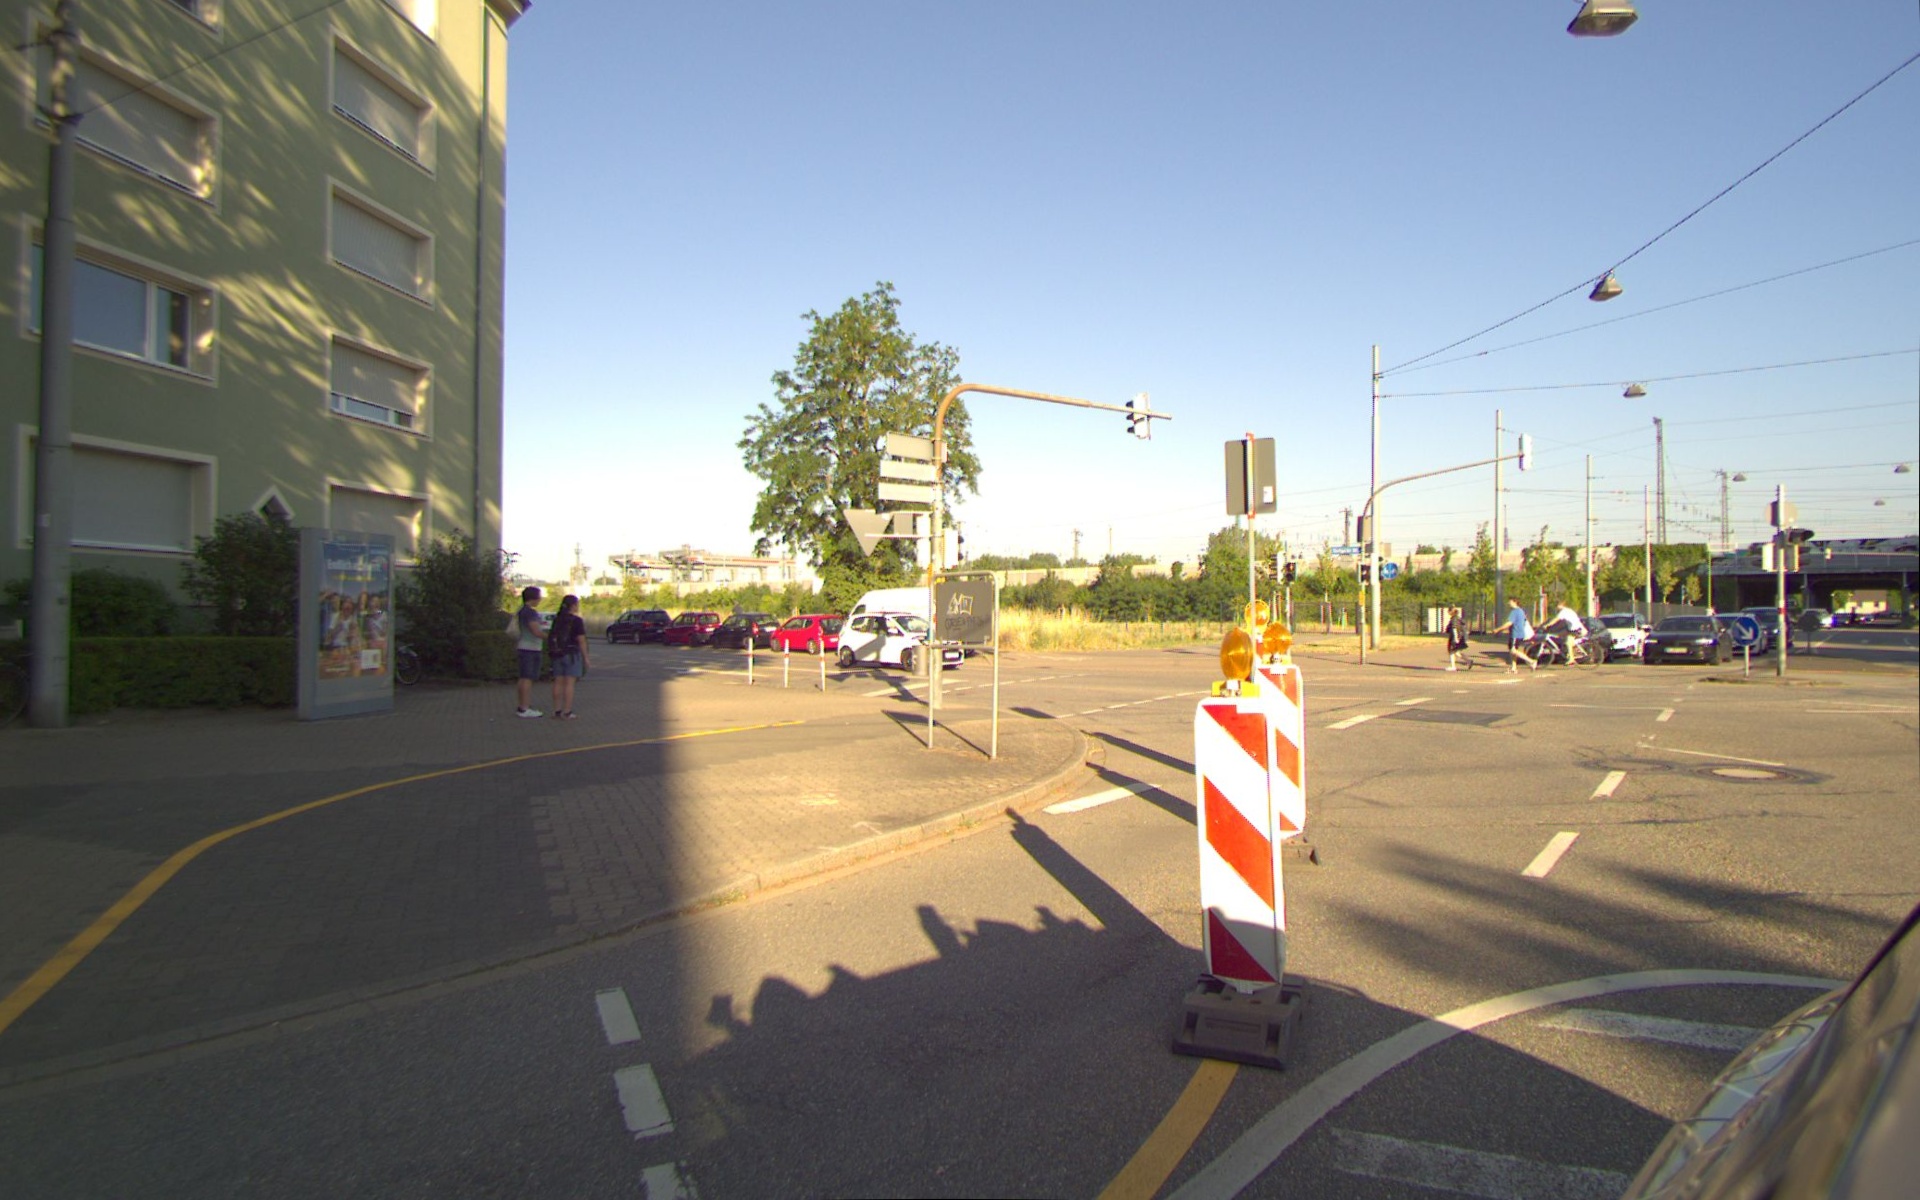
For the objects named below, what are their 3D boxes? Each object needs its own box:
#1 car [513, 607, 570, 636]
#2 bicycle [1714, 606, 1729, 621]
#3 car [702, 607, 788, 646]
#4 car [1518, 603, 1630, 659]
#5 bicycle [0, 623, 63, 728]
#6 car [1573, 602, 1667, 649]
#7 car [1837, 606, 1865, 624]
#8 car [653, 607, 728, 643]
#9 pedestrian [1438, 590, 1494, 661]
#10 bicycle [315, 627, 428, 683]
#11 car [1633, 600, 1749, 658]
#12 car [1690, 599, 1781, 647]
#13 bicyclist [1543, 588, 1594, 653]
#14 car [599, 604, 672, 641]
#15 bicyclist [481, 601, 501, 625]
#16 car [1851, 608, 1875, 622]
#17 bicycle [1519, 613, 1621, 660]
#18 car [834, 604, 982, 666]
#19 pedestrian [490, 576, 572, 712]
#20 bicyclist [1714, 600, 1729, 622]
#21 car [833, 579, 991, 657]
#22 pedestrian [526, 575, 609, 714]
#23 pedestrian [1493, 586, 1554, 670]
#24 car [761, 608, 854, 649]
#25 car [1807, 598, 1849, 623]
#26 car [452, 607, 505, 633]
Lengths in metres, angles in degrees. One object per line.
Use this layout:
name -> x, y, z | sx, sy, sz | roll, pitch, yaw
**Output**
car -> -23.368, 1.180, 56.445 | 3.571, 1.545, 1.681 | -1, -1, 44
bicycle -> 54.888, 0.973, 72.951 | 0.661, 1.082, 1.988 | -1, -1, 43
car -> -9.166, 1.084, 42.949 | 3.802, 1.549, 1.720 | -1, -1, 43
car -> 19.003, 0.910, 31.258 | 1.994, 1.587, 4.206 | -2, -1, 45
bicycle -> -10.274, 0.782, 10.157 | 0.514, 1.070, 1.923 | -1, 0, 18
car -> 23.503, 0.863, 35.991 | 1.994, 1.587, 4.206 | -1, -1, 45
car -> 86.965, 1.426, 98.734 | 1.992, 1.725, 3.939 | -1, -1, 42
car -> -12.259, 1.102, 45.942 | 3.565, 1.549, 1.639 | -1, -1, 43
pedestrian -> 12.931, 0.627, 25.874 | 1.064, 1.769, 0.900 | -1, -1, 44
bicycle -> -11.042, 1.018, 19.012 | 1.816, 1.015, 0.645 | 0, -1, 7
car -> 21.703, 0.793, 29.986 | 4.377, 1.587, 2.049 | 0, -1, -44
car -> 27.397, 0.760, 35.711 | 1.994, 1.587, 4.384 | -1, -1, 45
bicyclist -> 15.754, 0.525, 26.211 | 1.037, 1.650, 0.703 | -1, -1, 40
car -> -15.716, 1.059, 48.984 | 3.990, 1.680, 1.639 | -1, -1, 43
bicyclist -> -32.244, 0.879, 69.578 | 1.141, 1.617, 0.854 | -1, -1, 40
car -> 112.948, 1.829, 126.549 | 3.934, 1.725, 1.994 | 0, -1, -44
bicycle -> 15.760, 0.925, 26.198 | 2.189, 1.157, 0.691 | -1, -1, 39
car -> -1.394, 0.848, 26.149 | 3.760, 1.487, 1.680 | -1, -1, 42
pedestrian -> -5.826, 0.580, 13.755 | 0.688, 1.773, 0.786 | -1, -1, 32
bicyclist -> 54.883, 0.796, 72.963 | 0.774, 1.626, 0.844 | 0, -1, 42
car -> -1.763, 0.577, 35.422 | 5.538, 2.466, 2.204 | 0, 2, 42
pedestrian -> -5.190, 0.565, 13.409 | 0.686, 1.773, 0.788 | -1, -1, 25
pedestrian -> 13.426, 0.648, 24.106 | 1.064, 1.949, 0.900 | -1, -1, 44
car -> -6.041, 1.097, 39.913 | 3.680, 1.506, 1.720 | -1, -1, 43
car -> 60.914, 0.726, 70.999 | 1.994, 1.725, 3.936 | 0, -1, 44
car -> -29.789, 1.198, 62.616 | 1.794, 1.545, 4.280 | 0, -1, -43
